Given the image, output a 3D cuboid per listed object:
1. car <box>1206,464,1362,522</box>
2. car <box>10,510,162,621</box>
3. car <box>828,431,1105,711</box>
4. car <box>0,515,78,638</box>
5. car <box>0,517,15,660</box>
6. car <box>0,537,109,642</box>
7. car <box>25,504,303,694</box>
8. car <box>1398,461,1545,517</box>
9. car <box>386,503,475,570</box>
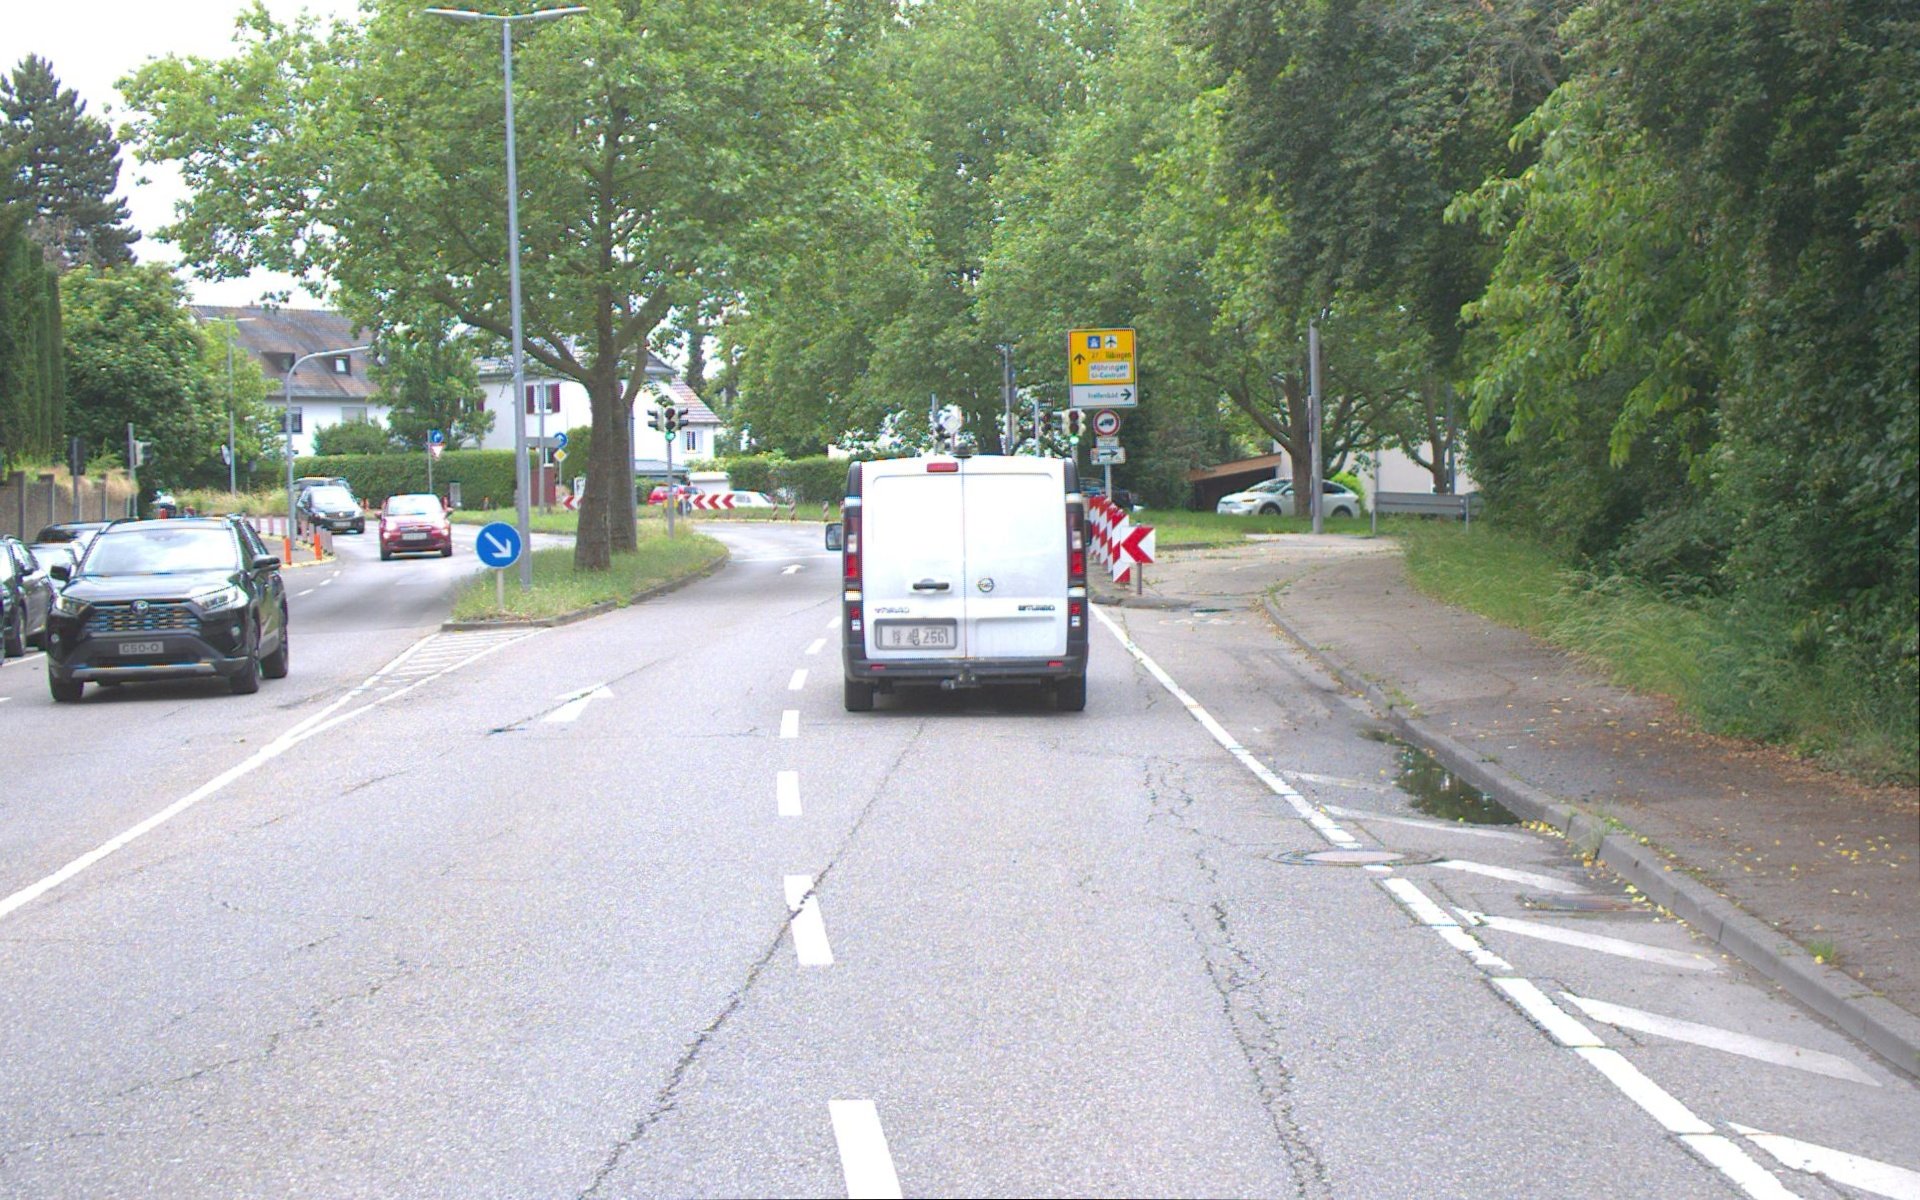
[{"bbox_3d":[10.265,-3.386,108.788,4.730,1.763,2.000,-2,3,-35],"label":"car"},{"bbox_3d":[-13.751,-0.581,54.296,1.672,1.586,4.097,-3,2,-6],"label":"car"},{"bbox_3d":[-0.047,-0.261,27.732,2.006,2.031,5.011,1,1,-2],"label":"car"},{"bbox_3d":[-12.708,-0.296,44.292,1.946,1.506,4.104,-3,2,-6],"label":"car"},{"bbox_3d":[-11.816,-0.066,37.985,1.993,1.637,4.467,-2,2,-7],"label":"car"},{"bbox_3d":[-13.343,-0.169,49.287,1.647,1.396,4.223,-2,1,-7],"label":"car"},{"bbox_3d":[-7.470,-0.064,32.655,1.842,1.641,4.214,-2,2,-3],"label":"car"},{"bbox_3d":[16.939,-3.677,113.716,4.730,1.763,2.000,-2,3,-35],"label":"car"},{"bbox_3d":[-13.501,-1.634,87.905,1.997,1.582,3.998,-2,2,-6],"label":"car"}]
